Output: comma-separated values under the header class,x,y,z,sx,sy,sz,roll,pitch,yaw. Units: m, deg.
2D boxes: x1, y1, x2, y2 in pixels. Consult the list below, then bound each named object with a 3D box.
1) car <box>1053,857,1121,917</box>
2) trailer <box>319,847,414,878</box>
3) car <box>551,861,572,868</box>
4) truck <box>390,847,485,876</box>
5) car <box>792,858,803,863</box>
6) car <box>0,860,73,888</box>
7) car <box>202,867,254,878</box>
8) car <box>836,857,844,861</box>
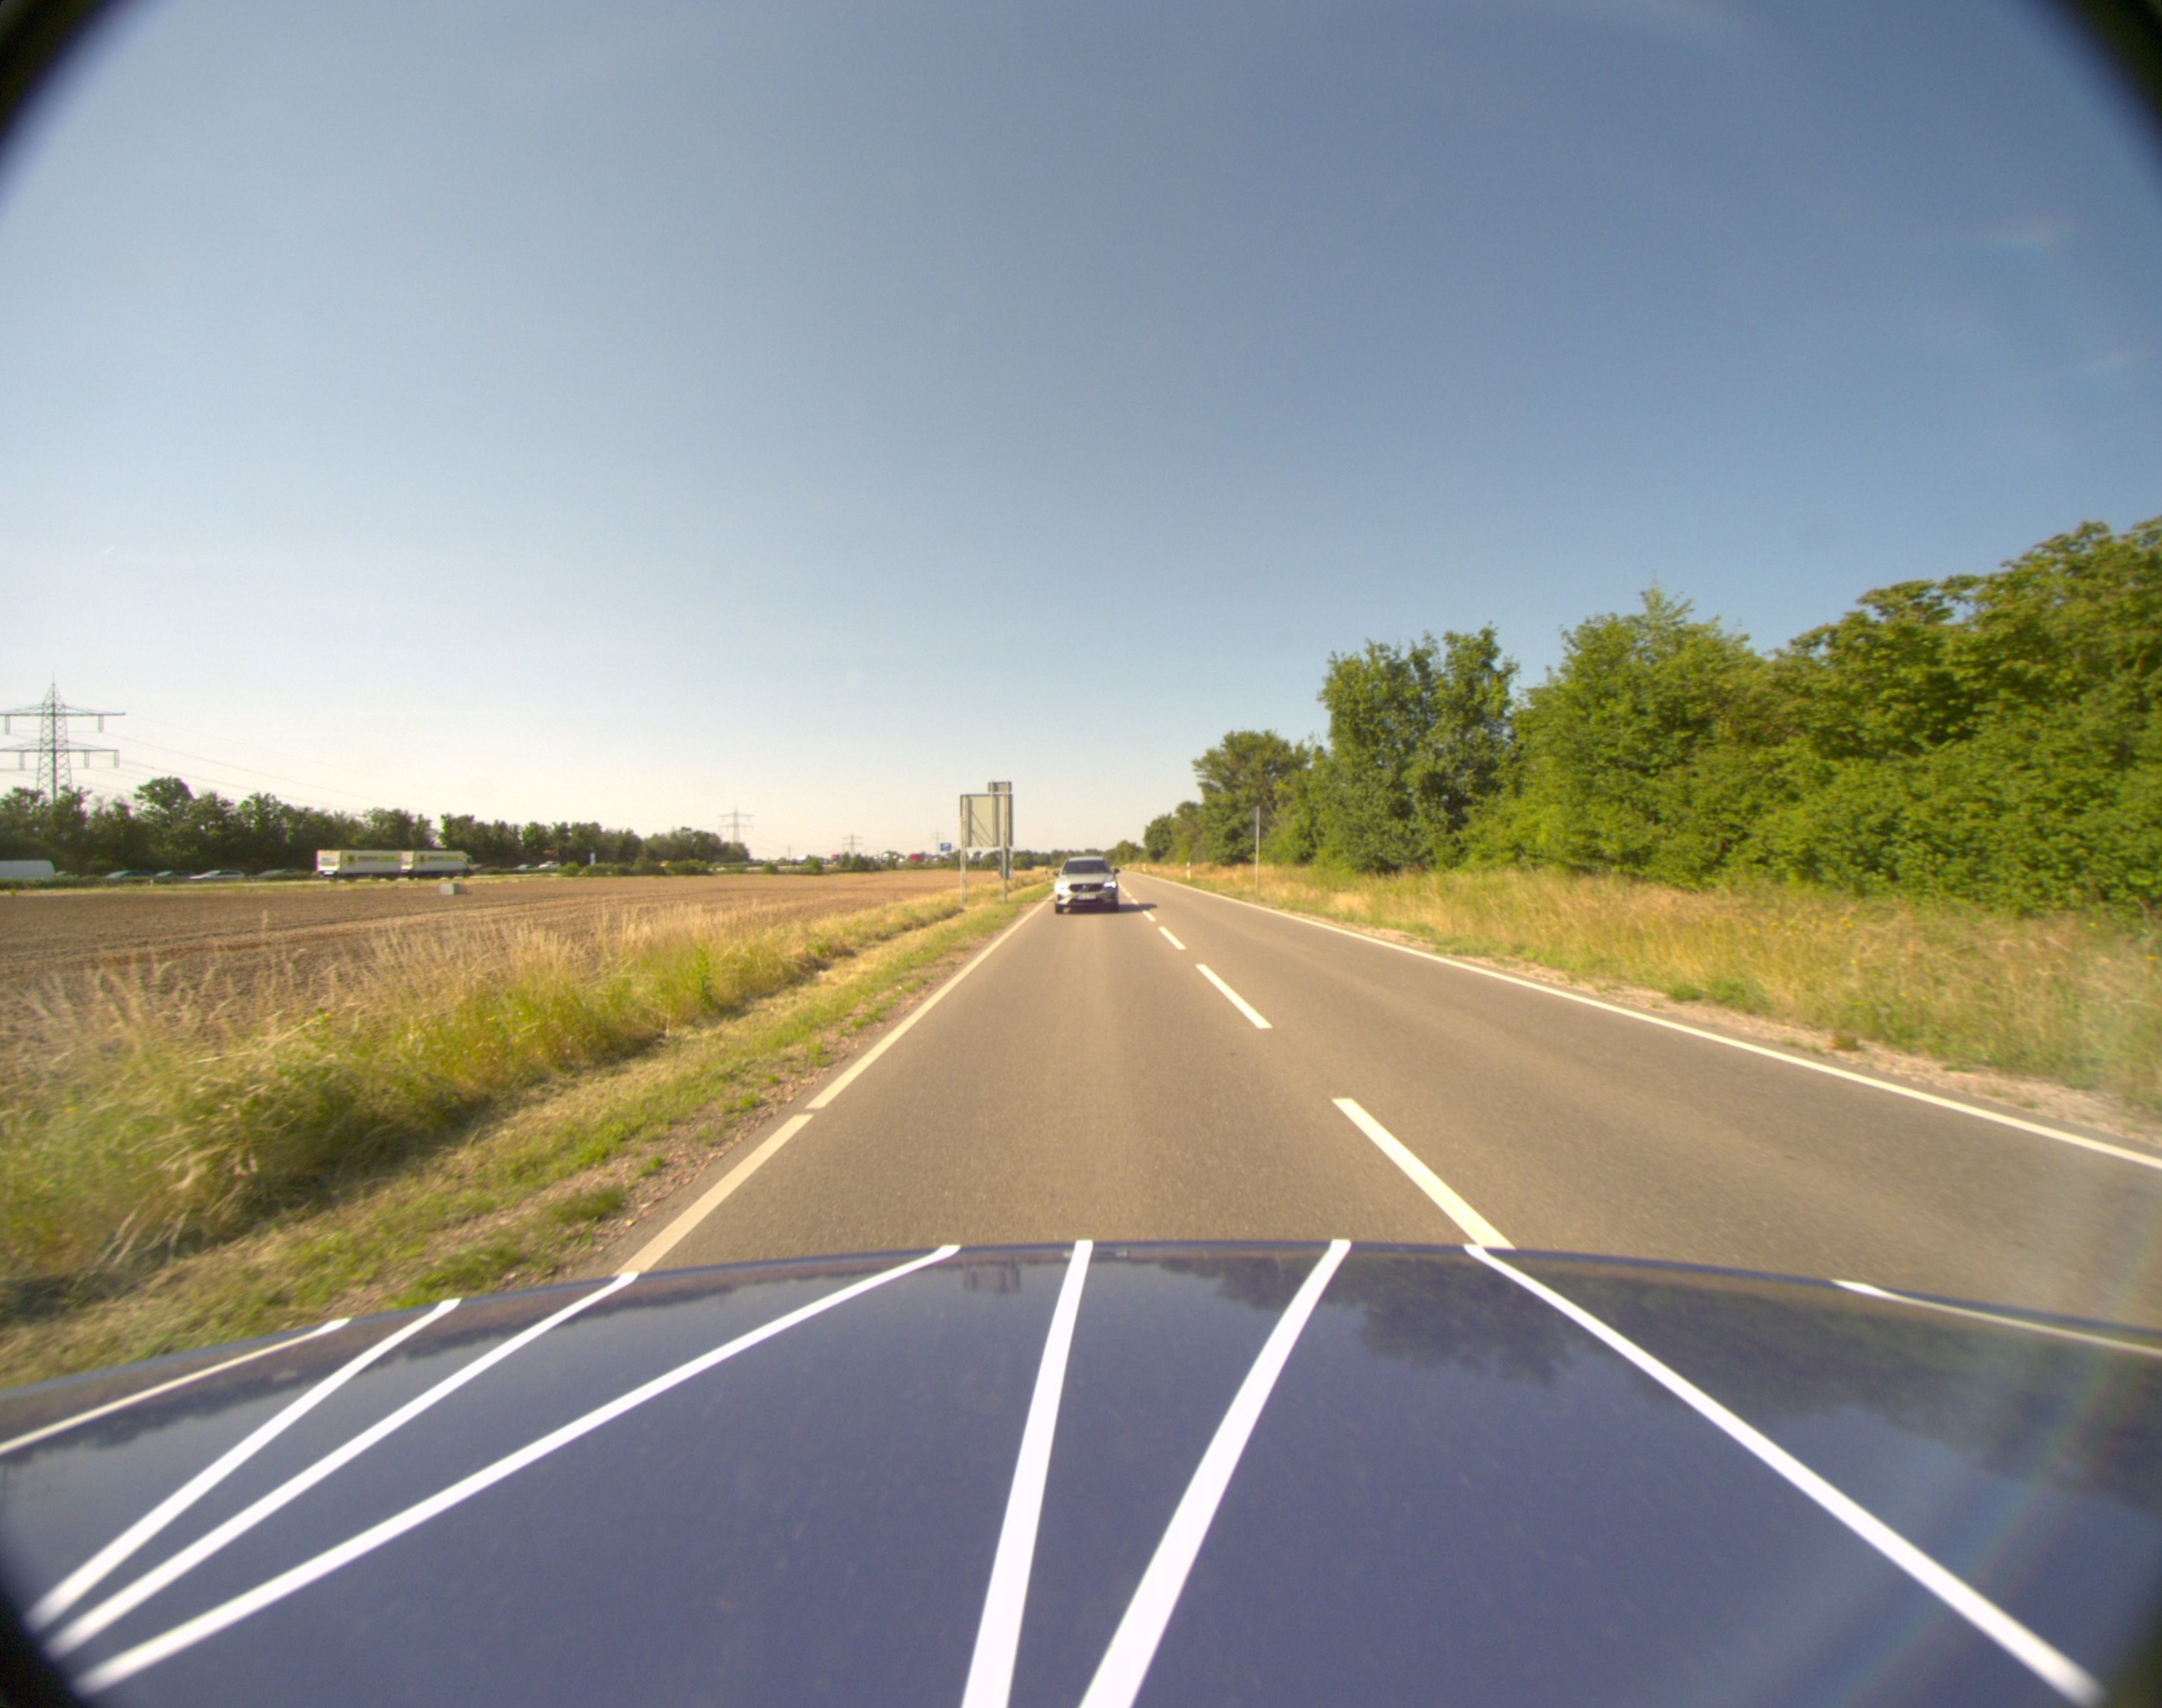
class,x,y,z,sx,sy,sz,roll,pitch,yaw
car,0.202,0.937,23.394,1.840,1.627,4.135,-2,0,1
trailer,-83.114,0.923,88.700,2.800,3.395,8.717,-1,0,0
car,-99.809,2.028,146.114,1.344,1.118,3.862,-2,0,0
truck,-83.167,0.929,98.564,2.813,3.457,11.120,-1,0,0
car,-83.656,1.939,224.200,1.583,1.256,3.551,-3,0,1
car,-96.451,1.832,68.674,2.042,2.432,6.413,-2,0,1
car,-94.070,2.043,83.859,1.344,1.118,3.862,-2,0,0
car,-78.450,1.690,247.200,1.583,1.256,3.551,-3,0,1
